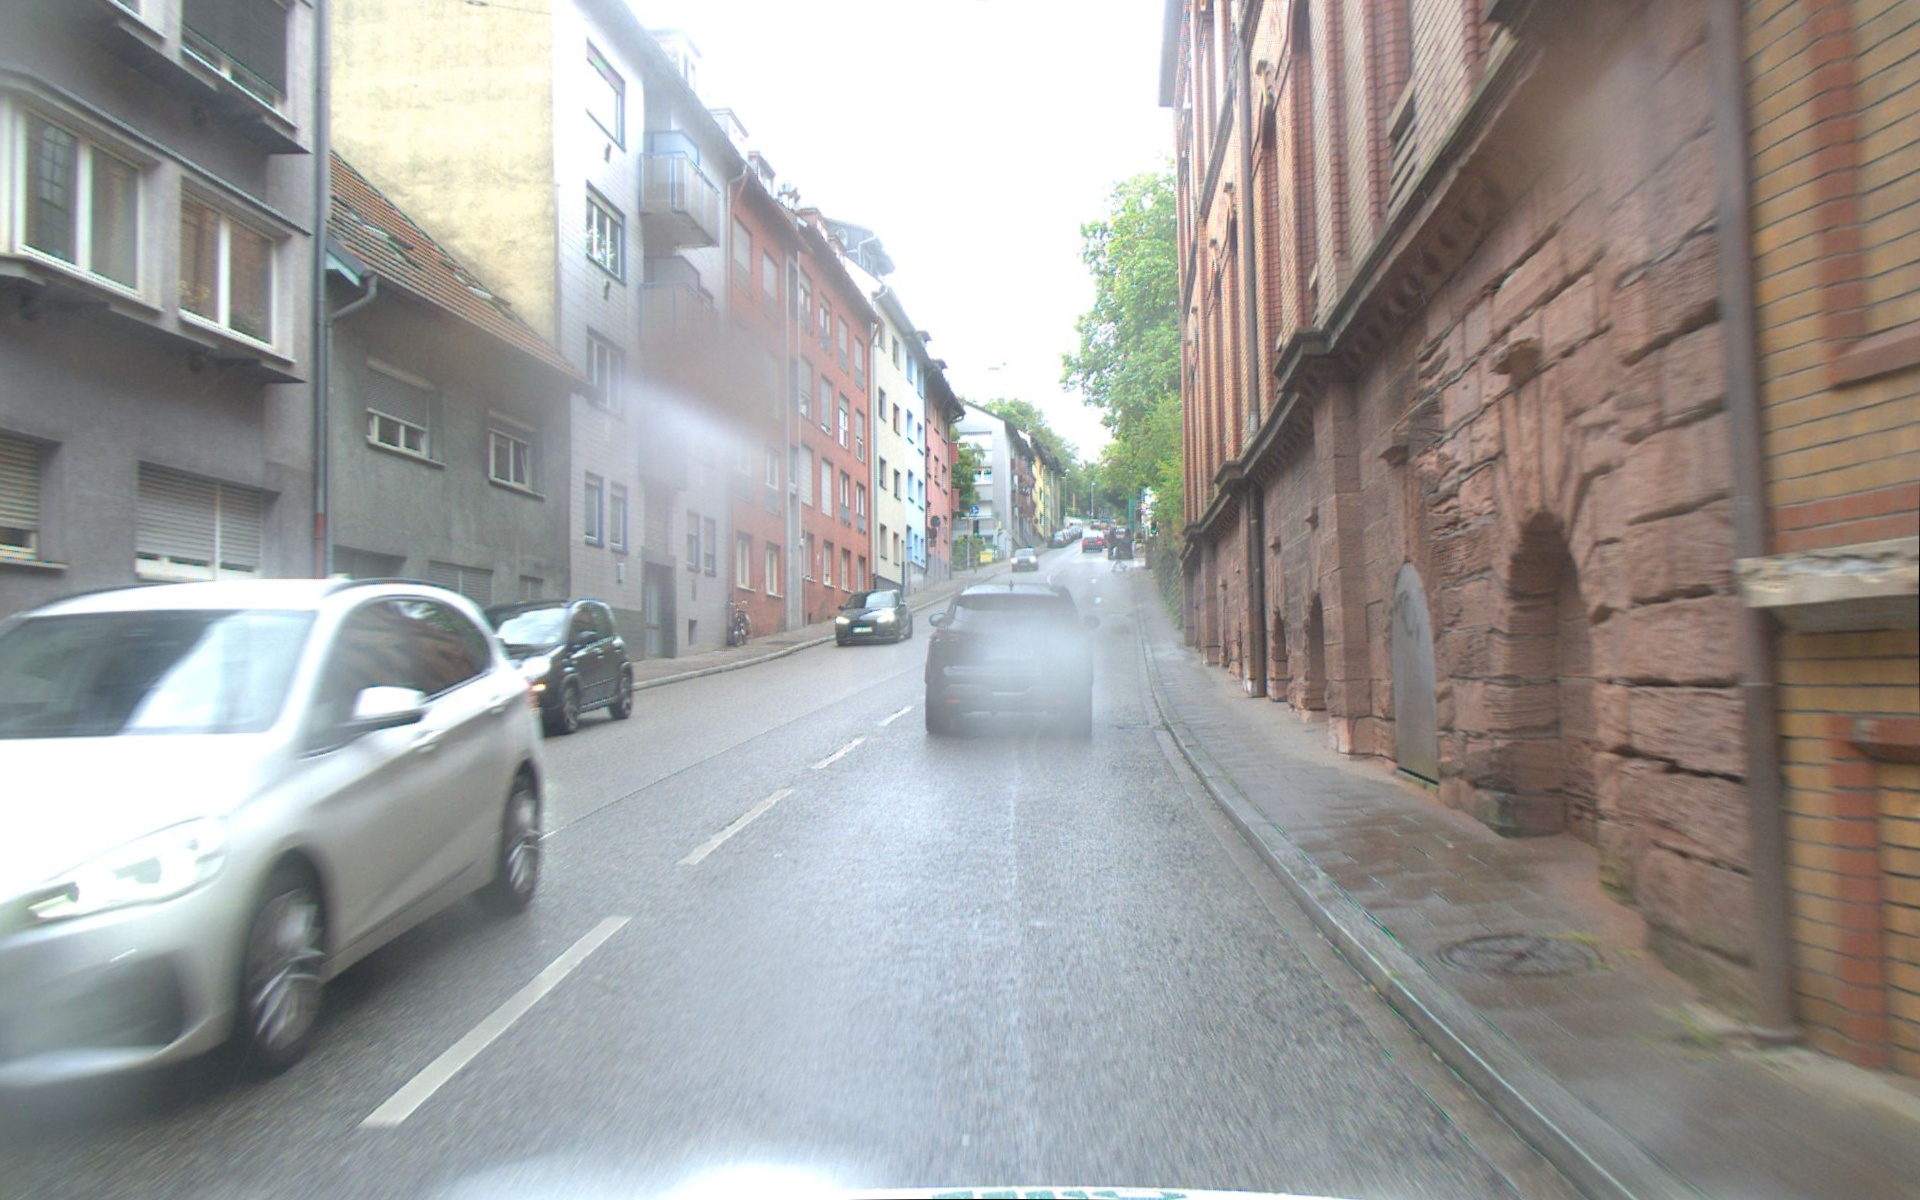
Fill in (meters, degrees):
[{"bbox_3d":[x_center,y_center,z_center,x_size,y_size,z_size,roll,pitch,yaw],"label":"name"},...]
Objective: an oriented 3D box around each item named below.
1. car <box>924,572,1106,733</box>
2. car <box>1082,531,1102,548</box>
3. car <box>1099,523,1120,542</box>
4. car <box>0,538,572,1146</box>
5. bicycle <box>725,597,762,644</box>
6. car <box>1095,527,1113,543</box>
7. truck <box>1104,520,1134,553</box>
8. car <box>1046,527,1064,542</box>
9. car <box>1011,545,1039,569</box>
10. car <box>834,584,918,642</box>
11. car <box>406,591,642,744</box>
[{"bbox_3d":[0.615,0.541,18.741,1.842,1.622,3.922,0,0,2],"label":"car"},{"bbox_3d":[12.528,-5.748,157.070,1.756,1.536,4.003,-2,1,6],"label":"car"},{"bbox_3d":[13.248,-5.970,146.574,1.756,1.536,4.504,-2,1,6],"label":"car"},{"bbox_3d":[-2.874,0.661,6.427,1.728,1.604,4.036,-2,0,0],"label":"car"},{"bbox_3d":[-5.527,0.514,42.300,0.488,1.127,1.802,-1,2,7],"label":"bicycle"},{"bbox_3d":[14.906,-6.674,171.081,1.756,1.536,4.003,-2,1,6],"label":"car"},{"bbox_3d":[12.683,-5.016,131.758,2.241,2.482,4.456,-2,1,6],"label":"truck"},{"bbox_3d":[10.163,-7.010,177.256,1.756,1.536,4.003,-2,1,6],"label":"car"},{"bbox_3d":[4.379,-2.881,110.733,1.678,1.473,3.925,-2,2,5],"label":"car"},{"bbox_3d":[-2.230,0.315,44.665,1.610,1.402,3.854,-3,1,6],"label":"car"},{"bbox_3d":[-5.024,0.720,19.488,1.610,1.522,3.378,-3,1,4],"label":"car"}]
